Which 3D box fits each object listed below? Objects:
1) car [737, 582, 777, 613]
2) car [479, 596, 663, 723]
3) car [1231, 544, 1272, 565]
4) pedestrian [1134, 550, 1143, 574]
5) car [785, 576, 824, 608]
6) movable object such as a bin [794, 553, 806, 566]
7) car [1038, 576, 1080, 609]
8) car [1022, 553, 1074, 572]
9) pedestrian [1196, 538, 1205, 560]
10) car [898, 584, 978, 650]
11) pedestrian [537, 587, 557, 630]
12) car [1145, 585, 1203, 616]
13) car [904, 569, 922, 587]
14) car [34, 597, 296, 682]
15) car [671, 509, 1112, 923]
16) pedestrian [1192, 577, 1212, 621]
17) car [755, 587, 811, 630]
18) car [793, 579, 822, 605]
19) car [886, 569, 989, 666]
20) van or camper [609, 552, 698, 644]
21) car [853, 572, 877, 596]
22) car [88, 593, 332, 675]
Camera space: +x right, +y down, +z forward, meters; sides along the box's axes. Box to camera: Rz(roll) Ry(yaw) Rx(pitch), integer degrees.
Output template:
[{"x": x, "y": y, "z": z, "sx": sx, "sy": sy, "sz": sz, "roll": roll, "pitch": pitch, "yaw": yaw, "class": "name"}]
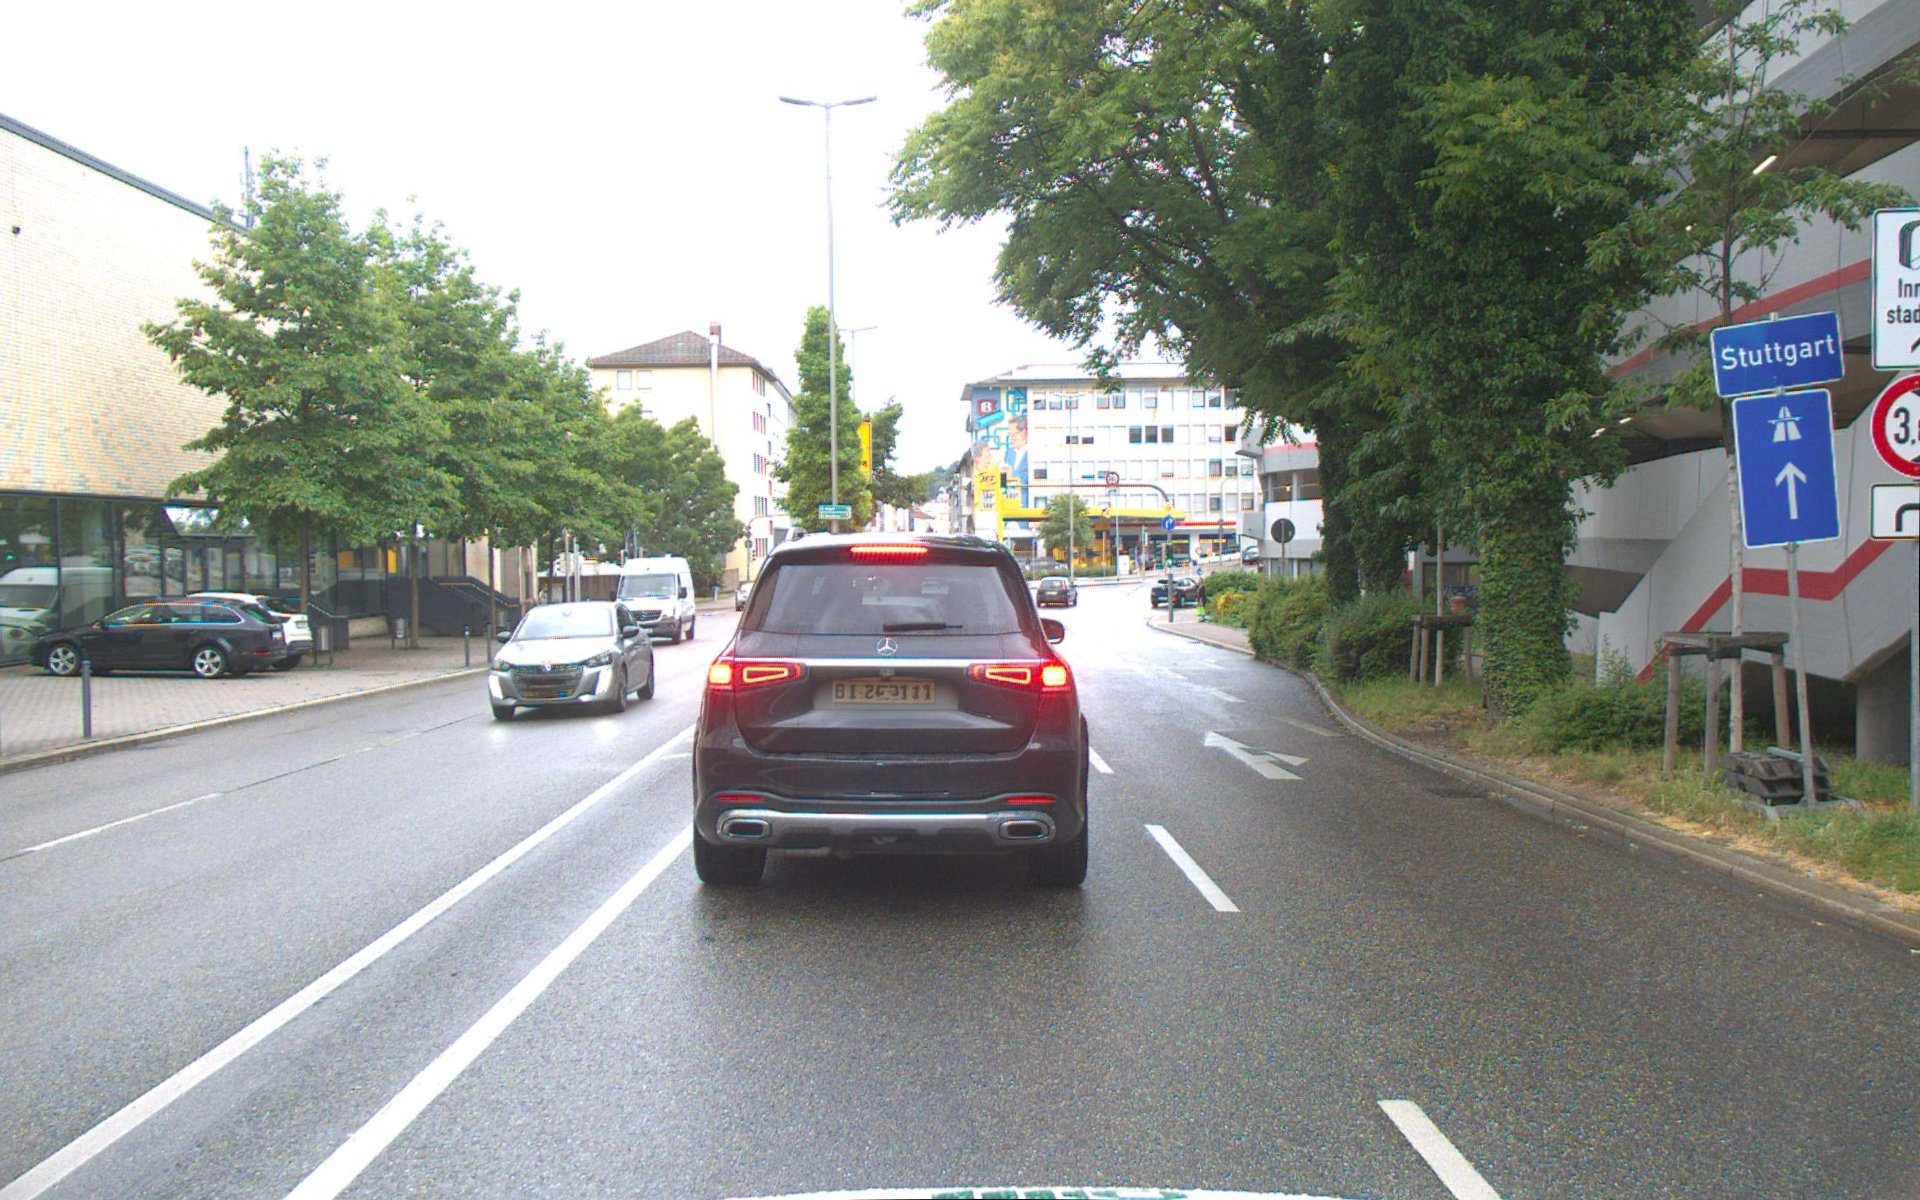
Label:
[{"x": -10.521, "y": -0.113, "z": 85.907, "sx": 1.761, "sy": 1.521, "sz": 3.801, "roll": 1, "pitch": 0, "yaw": -3, "class": "car"}, {"x": -5.207, "y": 0.739, "z": 22.595, "sx": 1.706, "sy": 1.496, "sz": 3.880, "roll": -2, "pitch": 0, "yaw": -3, "class": "car"}, {"x": 24.498, "y": -3.817, "z": 138.819, "sx": 1.958, "sy": 1.735, "sz": 3.990, "roll": -1, "pitch": 1, "yaw": 33, "class": "car"}, {"x": 13.010, "y": -2.769, "z": 120.447, "sx": 0.560, "sy": 1.727, "sz": 0.631, "roll": 1, "pitch": -1, "yaw": 0, "class": "pedestrian"}, {"x": -7.999, "y": -0.406, "z": 85.221, "sx": 1.776, "sy": 1.487, "sz": 4.285, "roll": -3, "pitch": 0, "yaw": -3, "class": "car"}, {"x": -13.624, "y": -3.478, "z": 140.972, "sx": 0.891, "sy": 1.056, "sz": 0.844, "roll": 1, "pitch": 0, "yaw": 0, "class": "movable object such as a bin"}, {"x": 5.002, "y": -0.394, "z": 83.110, "sx": 1.758, "sy": 1.552, "sz": 4.059, "roll": 1, "pitch": 1, "yaw": 8, "class": "car"}, {"x": 6.840, "y": -2.899, "z": 128.675, "sx": 1.724, "sy": 1.400, "sz": 3.935, "roll": -3, "pitch": 2, "yaw": -44, "class": "car"}, {"x": 19.919, "y": -4.220, "z": 137.060, "sx": 0.515, "sy": 1.757, "sz": 0.689, "roll": 0, "pitch": 1, "yaw": 26, "class": "pedestrian"}, {"x": -0.545, "y": 0.419, "z": 41.096, "sx": 1.869, "sy": 1.527, "sz": 3.999, "roll": 1, "pitch": 0, "yaw": -1, "class": "car"}, {"x": -16.554, "y": 0.339, "z": 66.349, "sx": 0.630, "sy": 1.695, "sz": 1.017, "roll": 1, "pitch": 0, "yaw": -7, "class": "pedestrian"}, {"x": 10.917, "y": 0.060, "z": 84.334, "sx": 1.906, "sy": 1.512, "sz": 3.998, "roll": 1, "pitch": 0, "yaw": 23, "class": "car"}, {"x": -5.435, "y": -2.524, "z": 191.959, "sx": 1.953, "sy": 2.049, "sz": 4.000, "roll": 1, "pitch": 0, "yaw": 0, "class": "car"}, {"x": -15.262, "y": 0.748, "z": 31.957, "sx": 4.097, "sy": 1.521, "sz": 1.997, "roll": 1, "pitch": 0, "yaw": -8, "class": "car"}, {"x": -0.332, "y": 0.531, "z": 9.428, "sx": 1.953, "sy": 1.832, "sz": 3.999, "roll": 1, "pitch": 0, "yaw": -1, "class": "car"}, {"x": 9.588, "y": -0.033, "z": 65.459, "sx": 0.634, "sy": 1.740, "sz": 0.470, "roll": 0, "pitch": -1, "yaw": 35, "class": "pedestrian"}, {"x": -6.712, "y": 0.308, "z": 63.134, "sx": 1.846, "sy": 1.524, "sz": 4.559, "roll": -2, "pitch": 0, "yaw": -3, "class": "car"}, {"x": -10.688, "y": -0.561, "z": 115.920, "sx": 1.868, "sy": 1.733, "sz": 3.997, "roll": 1, "pitch": 0, "yaw": -4, "class": "car"}, {"x": -0.466, "y": 0.341, "z": 33.913, "sx": 1.953, "sy": 1.832, "sz": 3.999, "roll": 1, "pitch": 0, "yaw": -1, "class": "car"}, {"x": -9.492, "y": -0.074, "z": 51.640, "sx": 2.061, "sy": 2.627, "sz": 5.902, "roll": -2, "pitch": 0, "yaw": -5, "class": "van or camper"}, {"x": -7.766, "y": -1.295, "z": 135.223, "sx": 1.830, "sy": 1.871, "sz": 3.818, "roll": 1, "pitch": 0, "yaw": -2, "class": "car"}, {"x": -15.463, "y": 0.686, "z": 34.257, "sx": 4.090, "sy": 1.574, "sz": 2.000, "roll": 1, "pitch": 0, "yaw": 0, "class": "car"}]
